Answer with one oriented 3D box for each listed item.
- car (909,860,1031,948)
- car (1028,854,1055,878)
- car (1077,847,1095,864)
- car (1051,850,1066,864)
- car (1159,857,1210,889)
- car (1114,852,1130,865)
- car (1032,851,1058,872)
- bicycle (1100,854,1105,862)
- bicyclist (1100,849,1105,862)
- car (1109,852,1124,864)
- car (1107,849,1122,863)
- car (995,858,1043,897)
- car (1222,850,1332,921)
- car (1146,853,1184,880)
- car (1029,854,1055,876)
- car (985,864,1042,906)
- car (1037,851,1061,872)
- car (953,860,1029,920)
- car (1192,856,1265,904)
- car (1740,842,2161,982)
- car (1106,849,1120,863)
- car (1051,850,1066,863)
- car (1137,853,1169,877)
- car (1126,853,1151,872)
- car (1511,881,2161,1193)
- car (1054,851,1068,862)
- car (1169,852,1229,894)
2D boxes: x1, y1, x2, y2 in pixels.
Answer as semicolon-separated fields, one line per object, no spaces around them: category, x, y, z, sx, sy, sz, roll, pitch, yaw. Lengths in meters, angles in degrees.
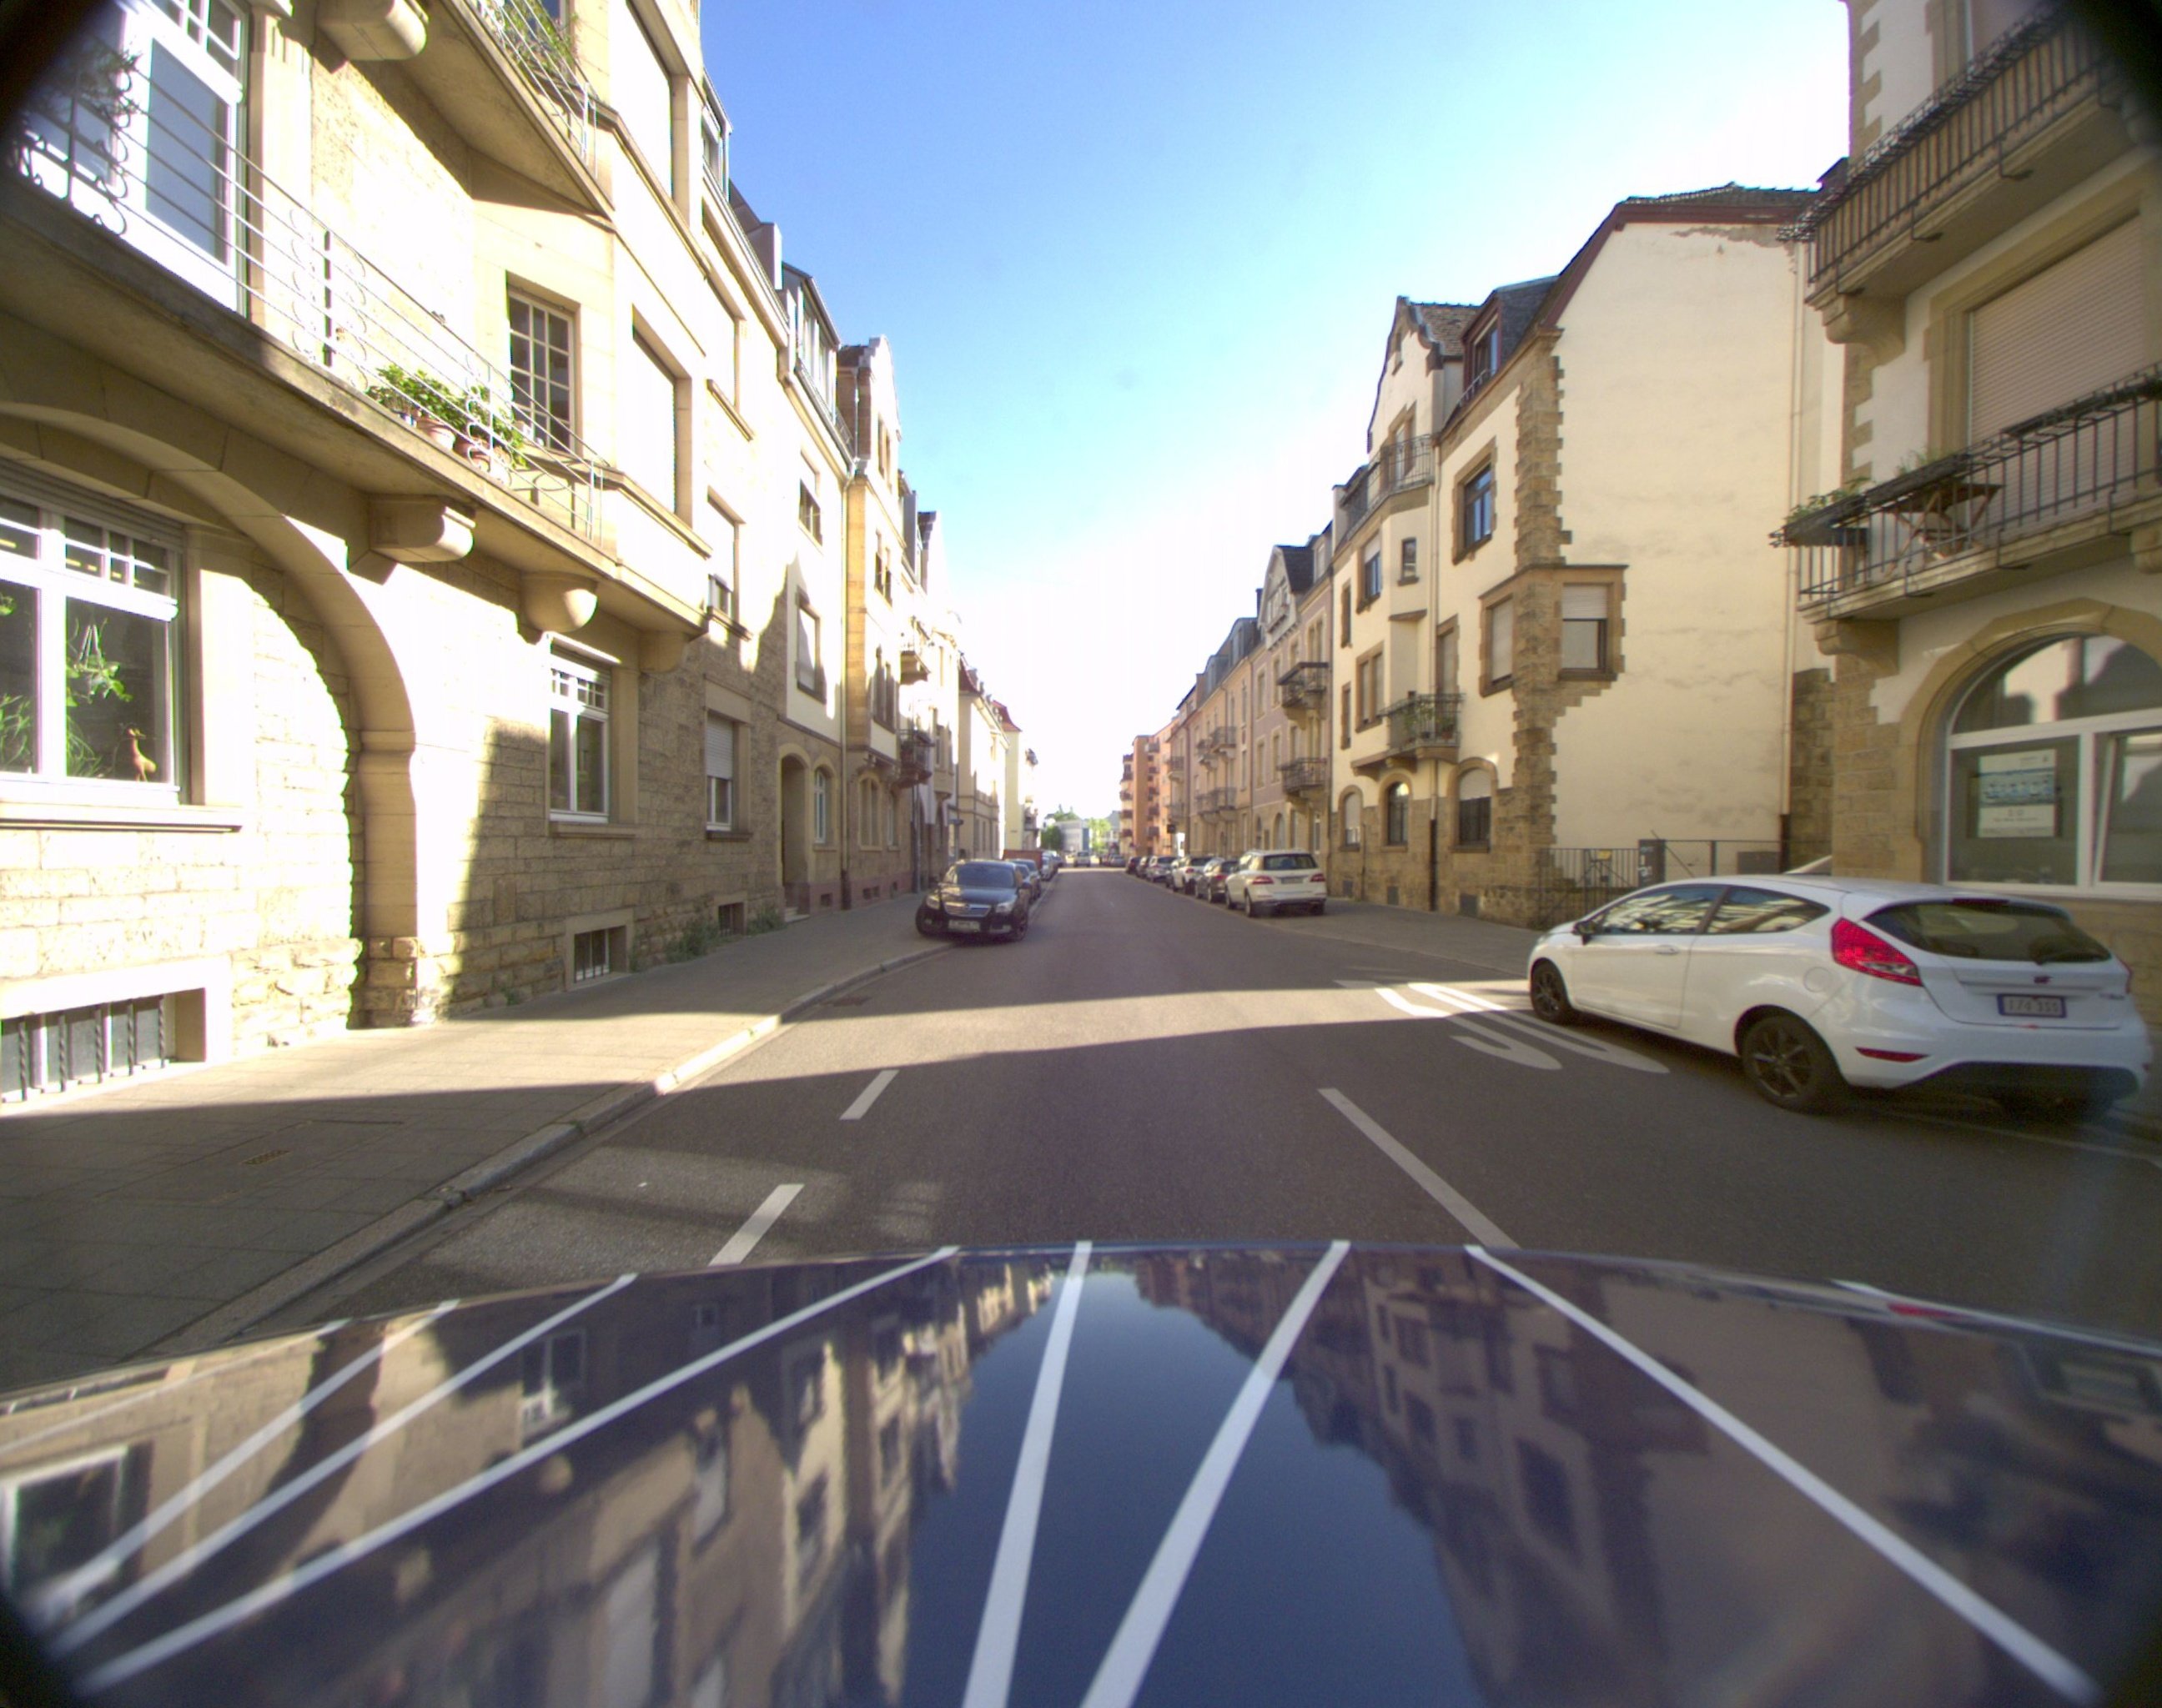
car;-2.064;0.886;15.310;1.870;1.453;4.338;0;0;-1
car;-2.465;0.729;47.642;1.590;1.456;3.710;0;0;-2
car;0.537;0.153;89.997;1.868;1.926;4.598;0;0;-3
car;-2.603;0.350;87.900;1.708;1.417;3.721;1;1;-1
car;5.050;0.913;37.582;1.677;1.385;3.664;-3;0;-5
car;4.873;0.530;91.148;1.678;1.414;3.500;0;0;0
car;-2.755;0.581;59.098;1.684;1.537;3.914;1;0;1
bicycle;2.703;0.500;96.079;0.541;1.070;1.800;0;0;1
bicyclist;2.706;0.135;96.159;0.609;1.656;0.632;0;1;0
car;4.489;0.507;95.595;1.678;1.414;3.285;1;0;0
car;4.491;0.252;101.876;1.822;1.867;4.110;0;0;0
car;-2.462;0.877;30.478;1.791;1.421;3.806;0;0;-4
car;5.216;0.753;20.915;1.896;1.712;4.726;-1;0;1
car;5.008;0.747;45.711;1.719;1.529;3.722;-1;0;-2
car;-2.663;0.718;53.029;1.657;1.456;4.093;0;0;-1
car;-2.254;1.018;26.245;1.697;1.247;3.940;-1;0;-2
car;-2.636;0.615;63.531;1.791;1.655;4.434;0;0;1
car;-2.381;0.916;21.024;1.655;1.434;4.257;1;0;-1
car;5.070;0.854;26.580;1.578;1.479;4.279;-2;0;-2
car;11.837;0.724;10.393;3.978;1.718;1.909;0;0;0
car;4.441;0.229;106.718;1.822;1.867;4.110;0;0;0
car;-2.745;0.303;93.364;1.708;1.417;3.721;1;1;-1
car;4.901;0.738;52.403;1.719;1.512;4.109;1;0;-1
car;4.732;0.656;62.690;1.719;1.378;3.864;-3;0;0
car;5.117;1.018;5.815;1.637;1.455;3.735;0;1;2
car;-2.639;0.371;99.714;1.708;1.417;3.721;0;0;-2
car;4.926;0.768;32.197;1.719;1.574;4.019;-3;0;-2
